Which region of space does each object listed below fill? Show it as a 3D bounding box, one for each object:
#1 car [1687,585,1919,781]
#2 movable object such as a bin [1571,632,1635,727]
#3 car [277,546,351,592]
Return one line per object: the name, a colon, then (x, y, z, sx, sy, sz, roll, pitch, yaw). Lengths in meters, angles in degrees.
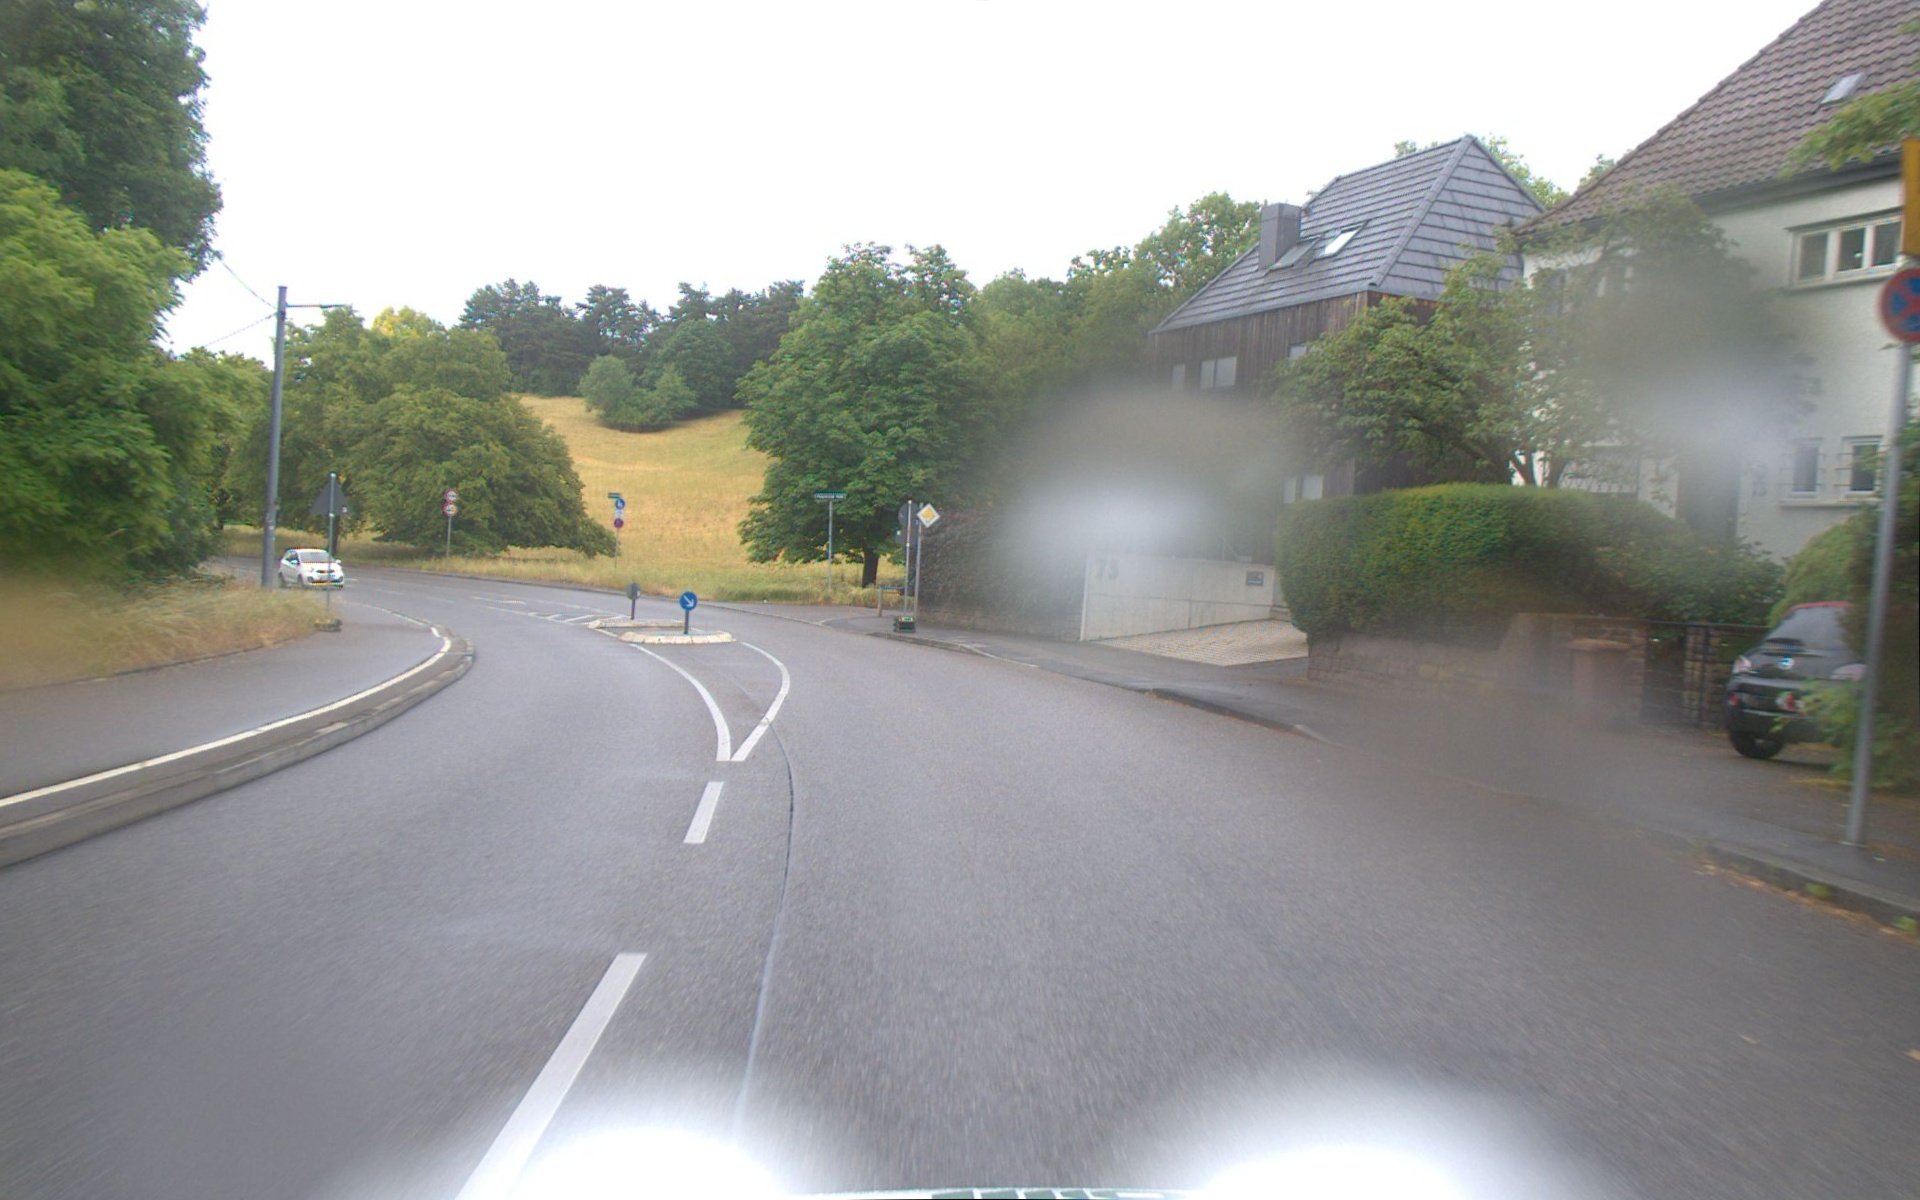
car: (8.817, 0.772, 14.873, 3.924, 1.522, 1.765, 3, 1, -17)
movable object such as a bin: (6.614, 0.811, 17.021, 0.411, 0.936, 0.462, 2, 0, -12)
car: (-25.088, -1.239, 64.172, 1.779, 1.511, 3.952, -3, 5, -35)
